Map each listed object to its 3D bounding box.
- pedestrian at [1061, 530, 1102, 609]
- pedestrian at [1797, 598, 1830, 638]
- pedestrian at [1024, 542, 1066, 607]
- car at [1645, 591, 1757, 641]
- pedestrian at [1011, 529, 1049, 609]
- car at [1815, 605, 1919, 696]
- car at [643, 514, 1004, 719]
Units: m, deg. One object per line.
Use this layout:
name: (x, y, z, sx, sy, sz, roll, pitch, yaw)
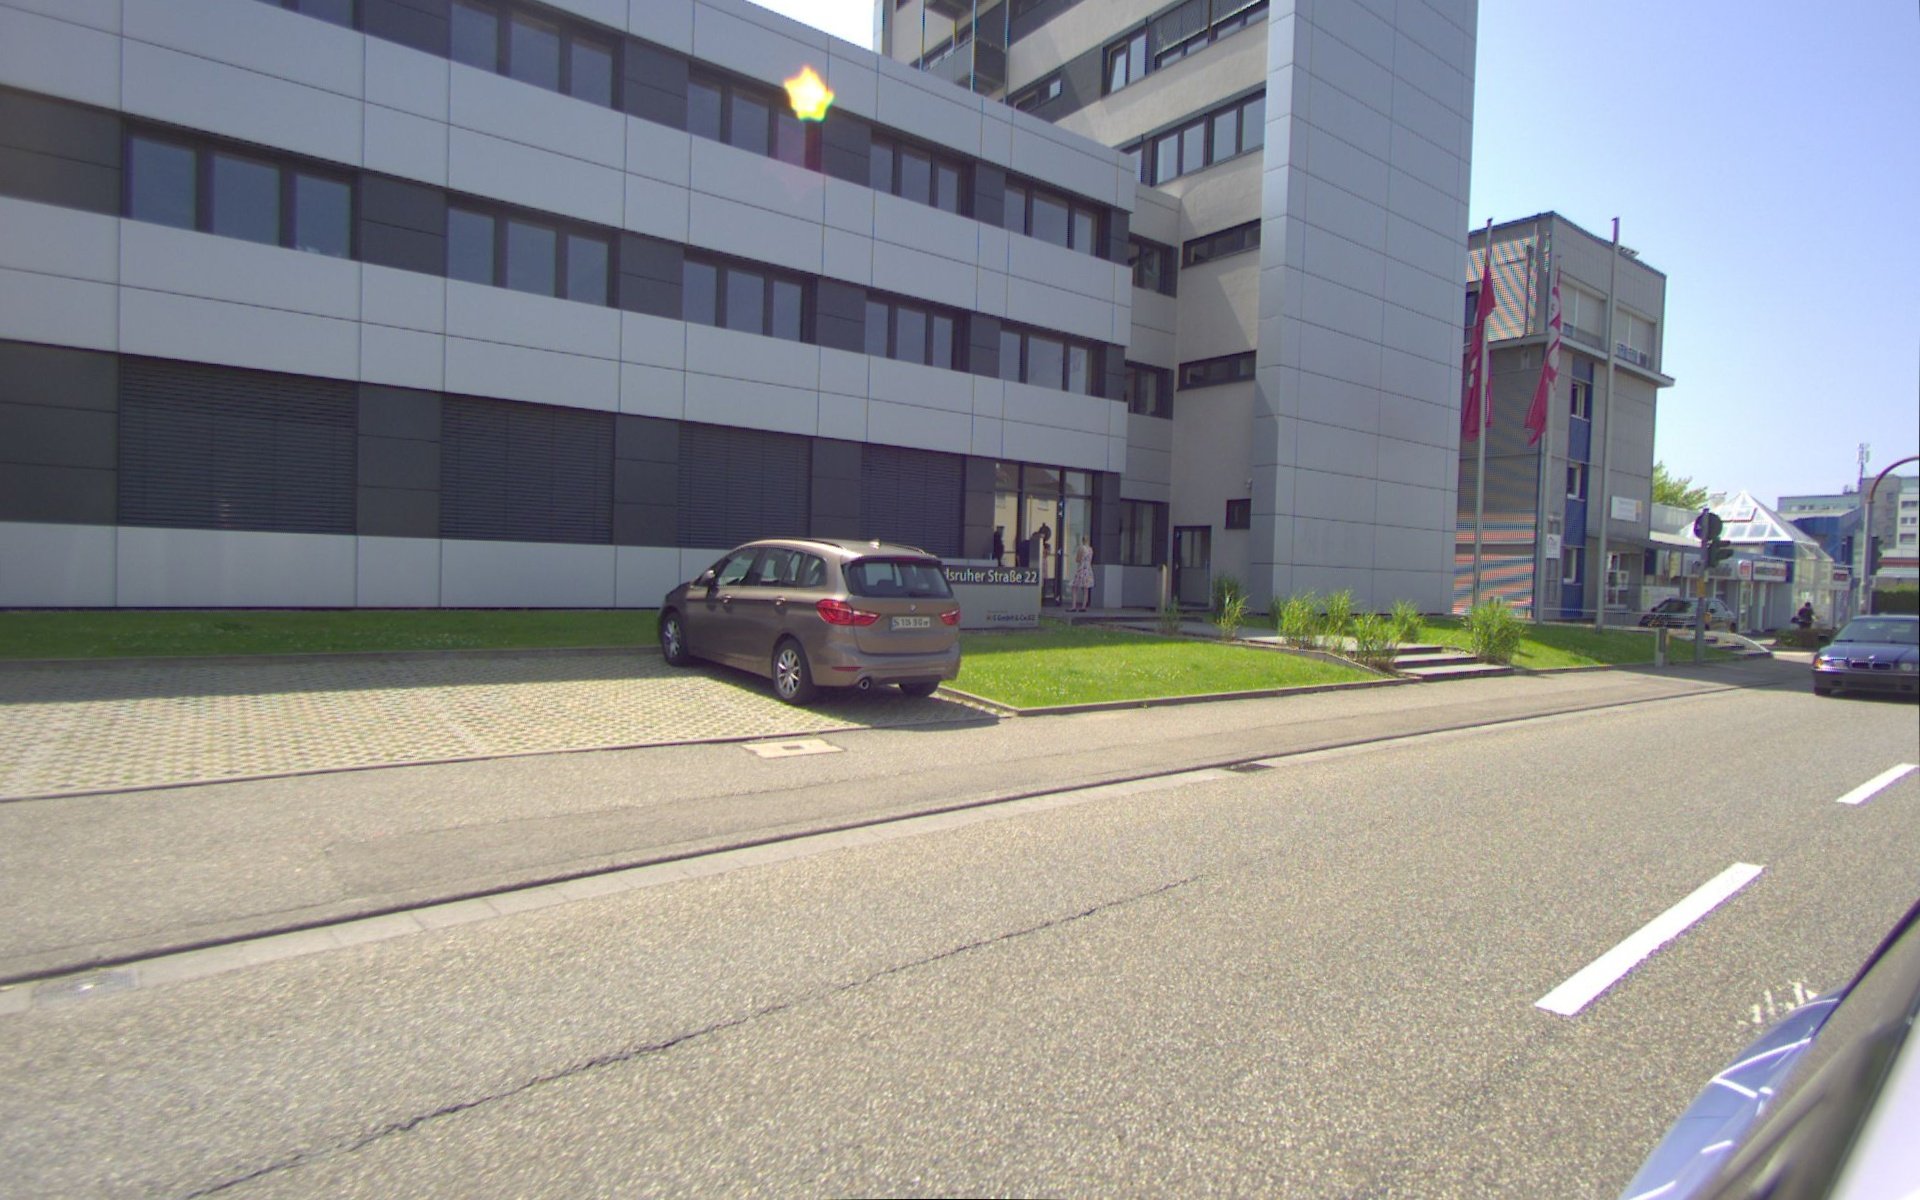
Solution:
pedestrian: (2.661, -0.661, 22.158, 0.520, 1.683, 0.747, 4, 2, 36)
pedestrian: (36.916, 0.768, 43.784, 0.836, 1.647, 0.813, 1, 2, -33)
pedestrian: (1.912, -0.565, 22.781, 0.522, 1.422, 0.787, 4, 2, 43)
car: (24.484, 0.511, 33.394, 4.118, 1.550, 1.849, 1, 0, -37)
pedestrian: (1.485, -0.659, 21.525, 0.512, 1.654, 0.596, 2, 2, -28)
car: (15.997, 0.810, 17.060, 3.687, 1.356, 1.633, 1, 1, -37)
car: (-1.716, 0.010, 11.339, 1.965, 1.709, 4.271, 0, 6, -40)
